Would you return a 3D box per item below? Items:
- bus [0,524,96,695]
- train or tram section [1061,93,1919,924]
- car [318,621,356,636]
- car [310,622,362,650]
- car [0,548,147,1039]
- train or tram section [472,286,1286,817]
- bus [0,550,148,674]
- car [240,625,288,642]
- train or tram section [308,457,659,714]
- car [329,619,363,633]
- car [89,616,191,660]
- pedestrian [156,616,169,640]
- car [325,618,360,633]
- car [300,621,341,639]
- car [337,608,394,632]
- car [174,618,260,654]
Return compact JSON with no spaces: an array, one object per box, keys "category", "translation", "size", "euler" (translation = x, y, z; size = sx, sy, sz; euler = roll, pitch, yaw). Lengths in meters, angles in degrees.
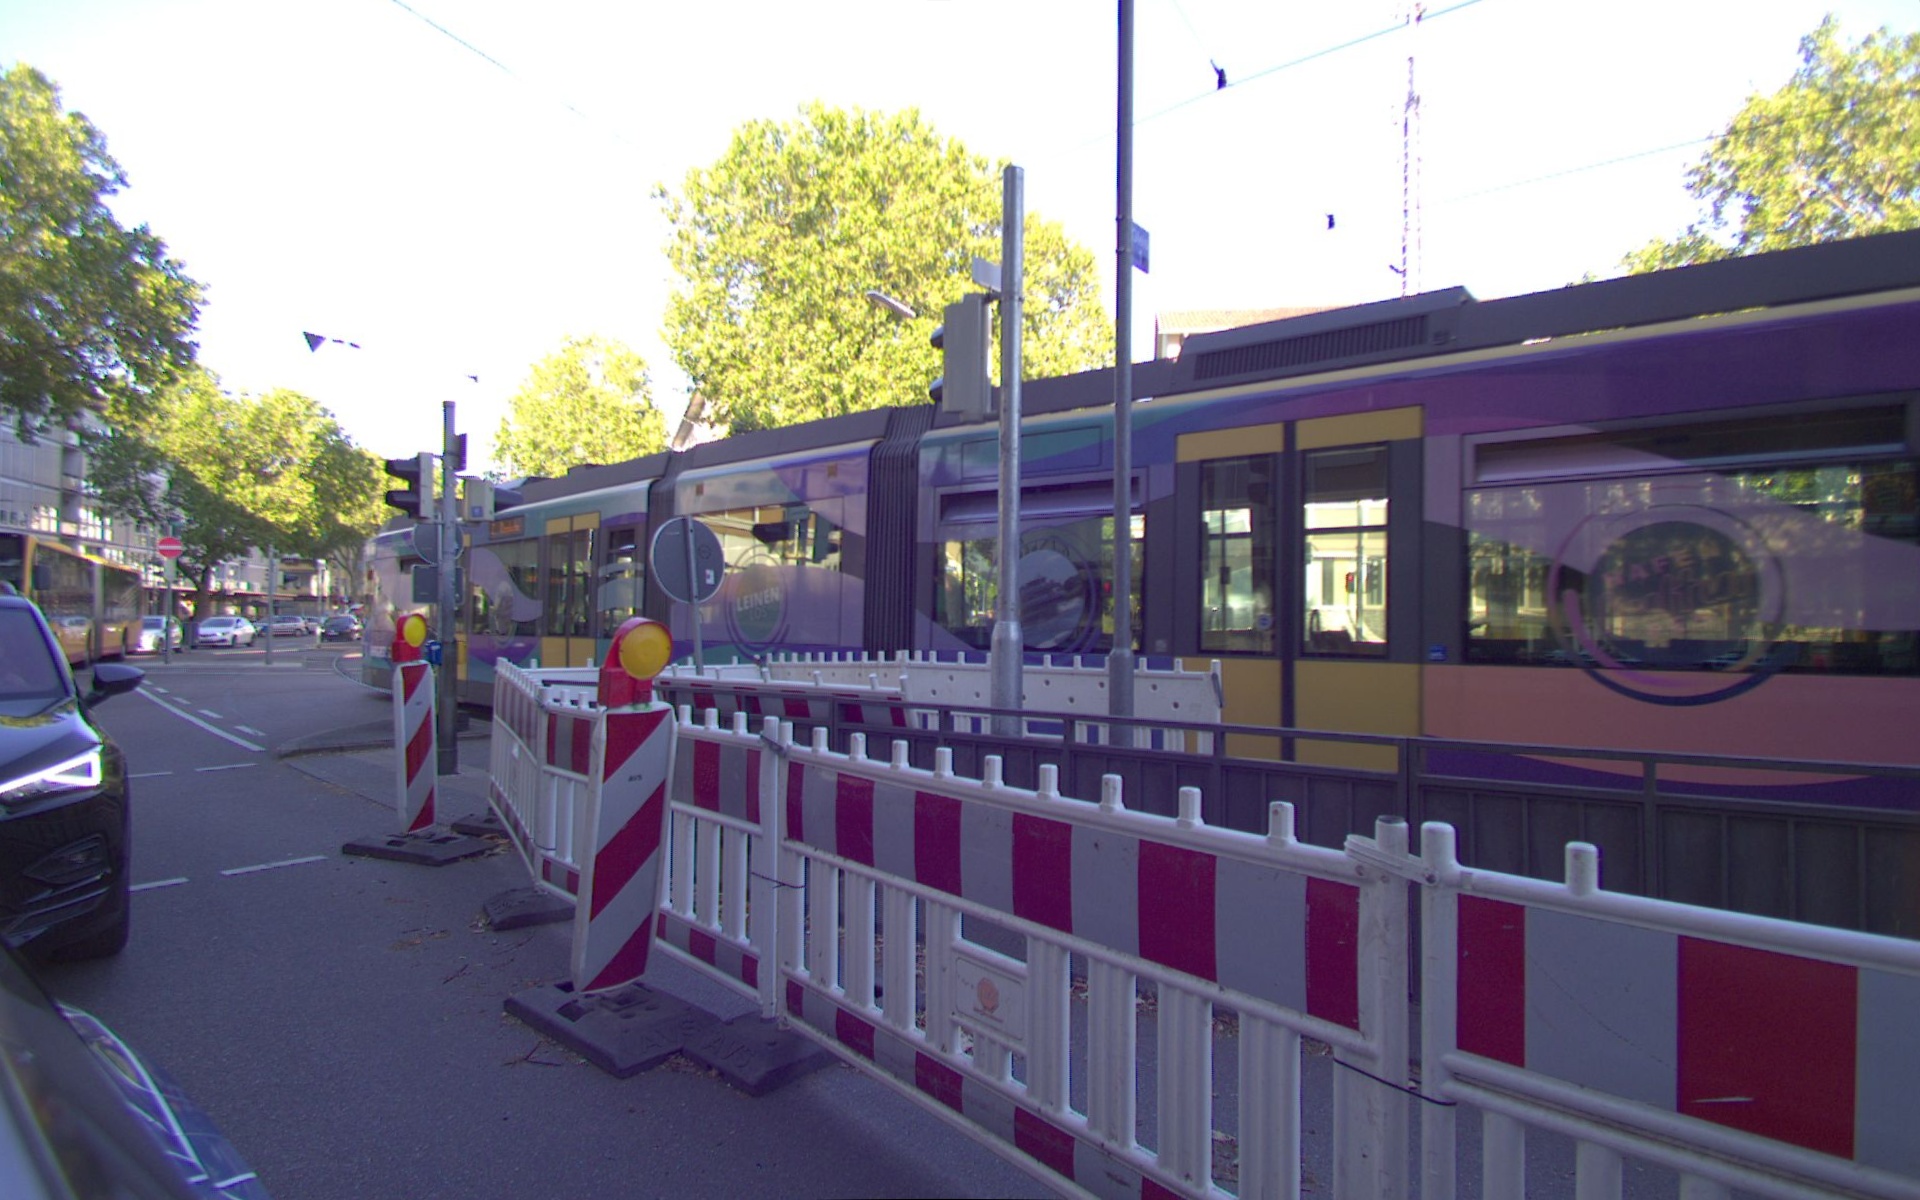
[{"category":"bus","translation":[-21.043,0.233,21.941],"size":[2.710,3.127,9.519],"euler":[1,-2,-36]},{"category":"train or tram section","translation":[5.635,-0.387,4.843],"size":[10.320,3.514,2.809],"euler":[-1,-1,37]},{"category":"car","translation":[-54.826,2.524,89.079],"size":[1.201,1.290,2.592],"euler":[0,-1,43]},{"category":"car","translation":[-36.128,2.033,58.679],"size":[1.923,1.486,4.772],"euler":[1,-1,-24]},{"category":"car","translation":[-5.163,0.691,4.590],"size":[4.300,1.670,1.823],"euler":[-1,-1,45]},{"category":"train or tram section","translation":[-1.903,-0.248,11.274],"size":[10.339,3.514,2.839],"euler":[-1,-1,43]},{"category":"bus","translation":[-26.348,0.393,29.791],"size":[2.708,3.127,9.523],"euler":[1,-2,-32]},{"category":"car","translation":[-50.894,2.436,74.021],"size":[1.198,1.226,2.599],"euler":[0,-1,34]},{"category":"train or tram section","translation":[-9.226,-0.117,18.557],"size":[2.801,3.514,10.349],"euler":[1,-1,-43]},{"category":"car","translation":[-59.547,2.537,98.095],"size":[1.201,1.355,2.592],"euler":[0,-1,43]},{"category":"car","translation":[-30.656,1.374,37.996],"size":[1.880,1.486,4.433],"euler":[1,-1,-24]},{"category":"pedestrian","translation":[-55.348,1.920,70.233],"size":[0.508,1.669,0.572],"euler":[1,-1,-22]},{"category":"car","translation":[-58.173,2.380,95.294],"size":[1.201,1.399,2.592],"euler":[0,-1,43]},{"category":"car","translation":[-52.355,2.451,82.913],"size":[1.201,1.484,2.592],"euler":[0,-1,43]},{"category":"car","translation":[-61.612,2.070,104.992],"size":[1.873,2.394,4.817],"euler":[0,-1,30]},{"category":"car","translation":[-34.937,1.662,47.727],"size":[1.923,1.562,4.771],"euler":[1,-1,-19]}]
